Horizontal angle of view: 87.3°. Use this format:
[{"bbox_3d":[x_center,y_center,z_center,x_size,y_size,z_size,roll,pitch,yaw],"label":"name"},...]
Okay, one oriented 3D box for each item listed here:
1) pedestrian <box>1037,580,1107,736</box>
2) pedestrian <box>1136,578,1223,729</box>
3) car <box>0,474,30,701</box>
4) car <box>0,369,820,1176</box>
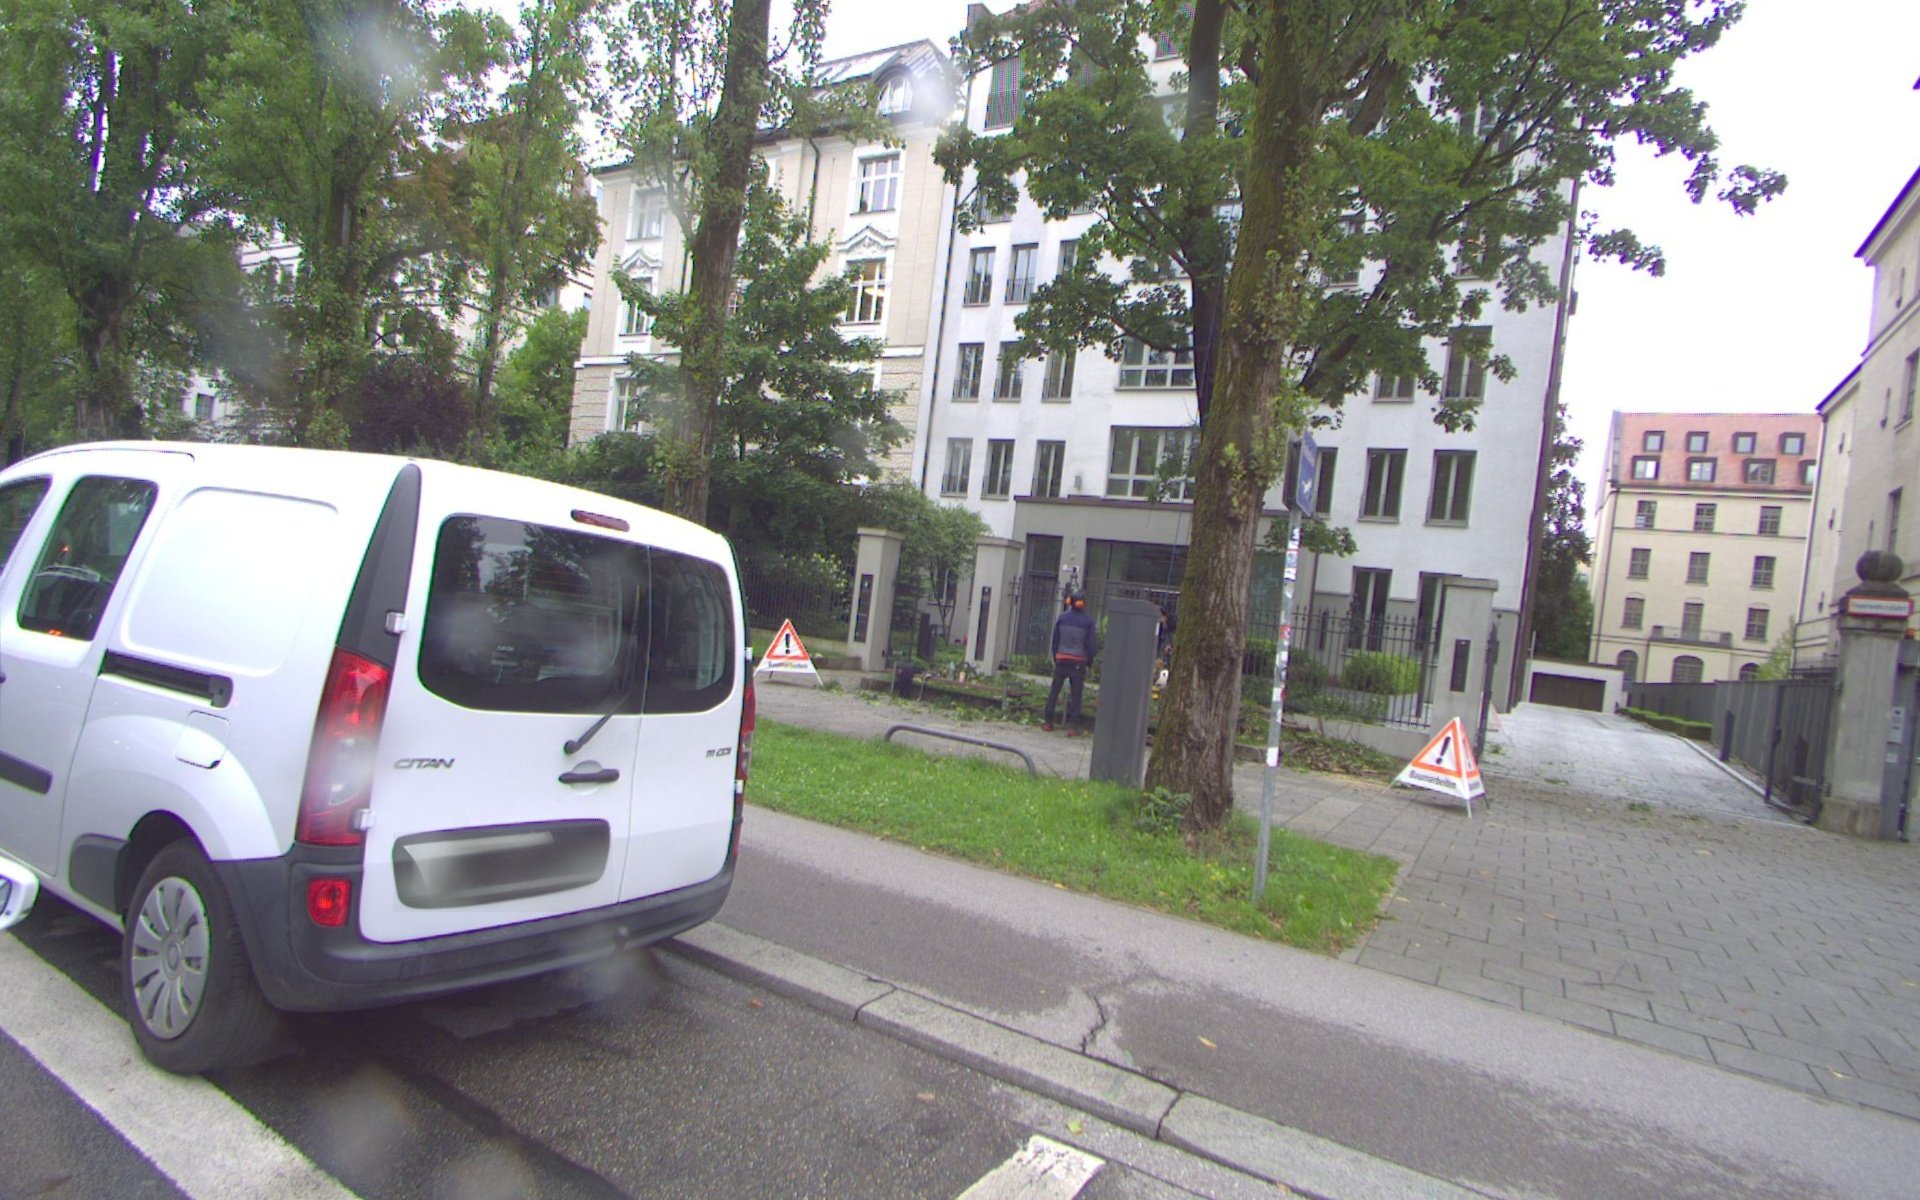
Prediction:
[{"bbox_3d":[1.433,0.727,12.810,0.626,1.886,0.488,7,1,14],"label":"pedestrian"},{"bbox_3d":[2.891,0.688,13.352,0.814,1.823,0.904,9,2,10],"label":"pedestrian"},{"bbox_3d":[-8.950,-0.358,7.526,4.141,1.612,1.743,7,0,31],"label":"car"},{"bbox_3d":[-2.871,0.256,4.186,4.097,1.904,1.854,7,0,30],"label":"car"}]
